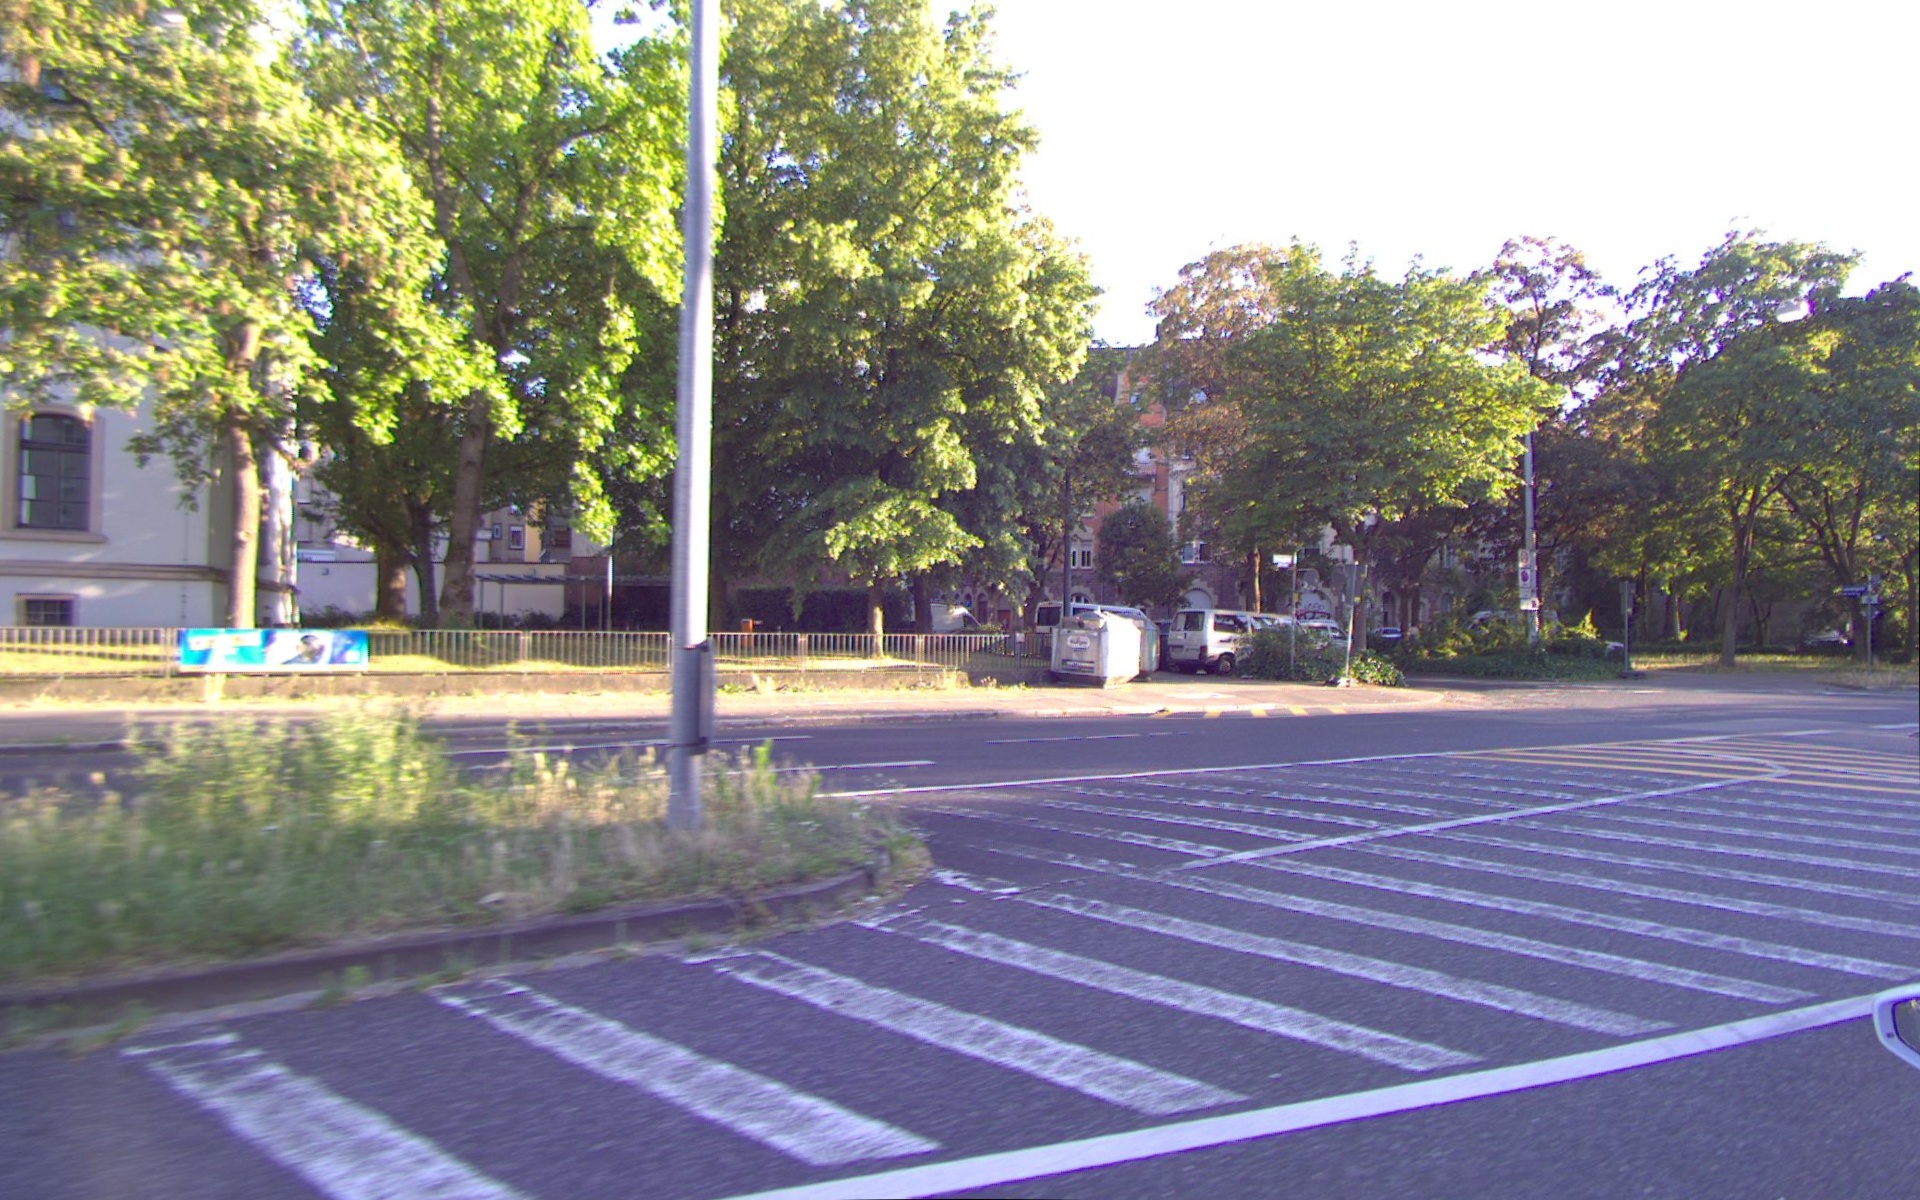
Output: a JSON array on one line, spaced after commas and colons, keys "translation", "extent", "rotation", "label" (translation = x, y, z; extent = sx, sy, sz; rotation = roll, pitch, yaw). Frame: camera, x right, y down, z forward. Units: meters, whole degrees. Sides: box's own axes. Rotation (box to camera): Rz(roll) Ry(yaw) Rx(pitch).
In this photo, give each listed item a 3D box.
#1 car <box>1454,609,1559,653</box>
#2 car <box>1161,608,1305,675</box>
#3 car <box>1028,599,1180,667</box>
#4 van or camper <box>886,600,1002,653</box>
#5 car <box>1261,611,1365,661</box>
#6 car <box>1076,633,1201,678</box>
[{"translation": [33.204, 1.848, 61.192], "extent": [5.128, 2.518, 2.275], "rotation": [1, -1, 8], "label": "car"}, {"translation": [7.979, 1.195, 29.297], "extent": [3.954, 1.819, 1.809], "rotation": [2, 0, -31], "label": "car"}, {"translation": [5.212, 1.198, 36.267], "extent": [5.027, 2.319, 2.209], "rotation": [2, 0, -24], "label": "car"}, {"translation": [-0.760, 1.319, 49.576], "extent": [5.359, 2.504, 2.057], "rotation": [2, 0, -28], "label": "van or camper"}, {"translation": [14.744, 1.489, 41.929], "extent": [3.954, 1.907, 1.983], "rotation": [2, 1, -31], "label": "car"}, {"translation": [6.006, 1.837, 33.644], "extent": [3.954, 1.350, 1.724], "rotation": [2, 0, -31], "label": "car"}]
